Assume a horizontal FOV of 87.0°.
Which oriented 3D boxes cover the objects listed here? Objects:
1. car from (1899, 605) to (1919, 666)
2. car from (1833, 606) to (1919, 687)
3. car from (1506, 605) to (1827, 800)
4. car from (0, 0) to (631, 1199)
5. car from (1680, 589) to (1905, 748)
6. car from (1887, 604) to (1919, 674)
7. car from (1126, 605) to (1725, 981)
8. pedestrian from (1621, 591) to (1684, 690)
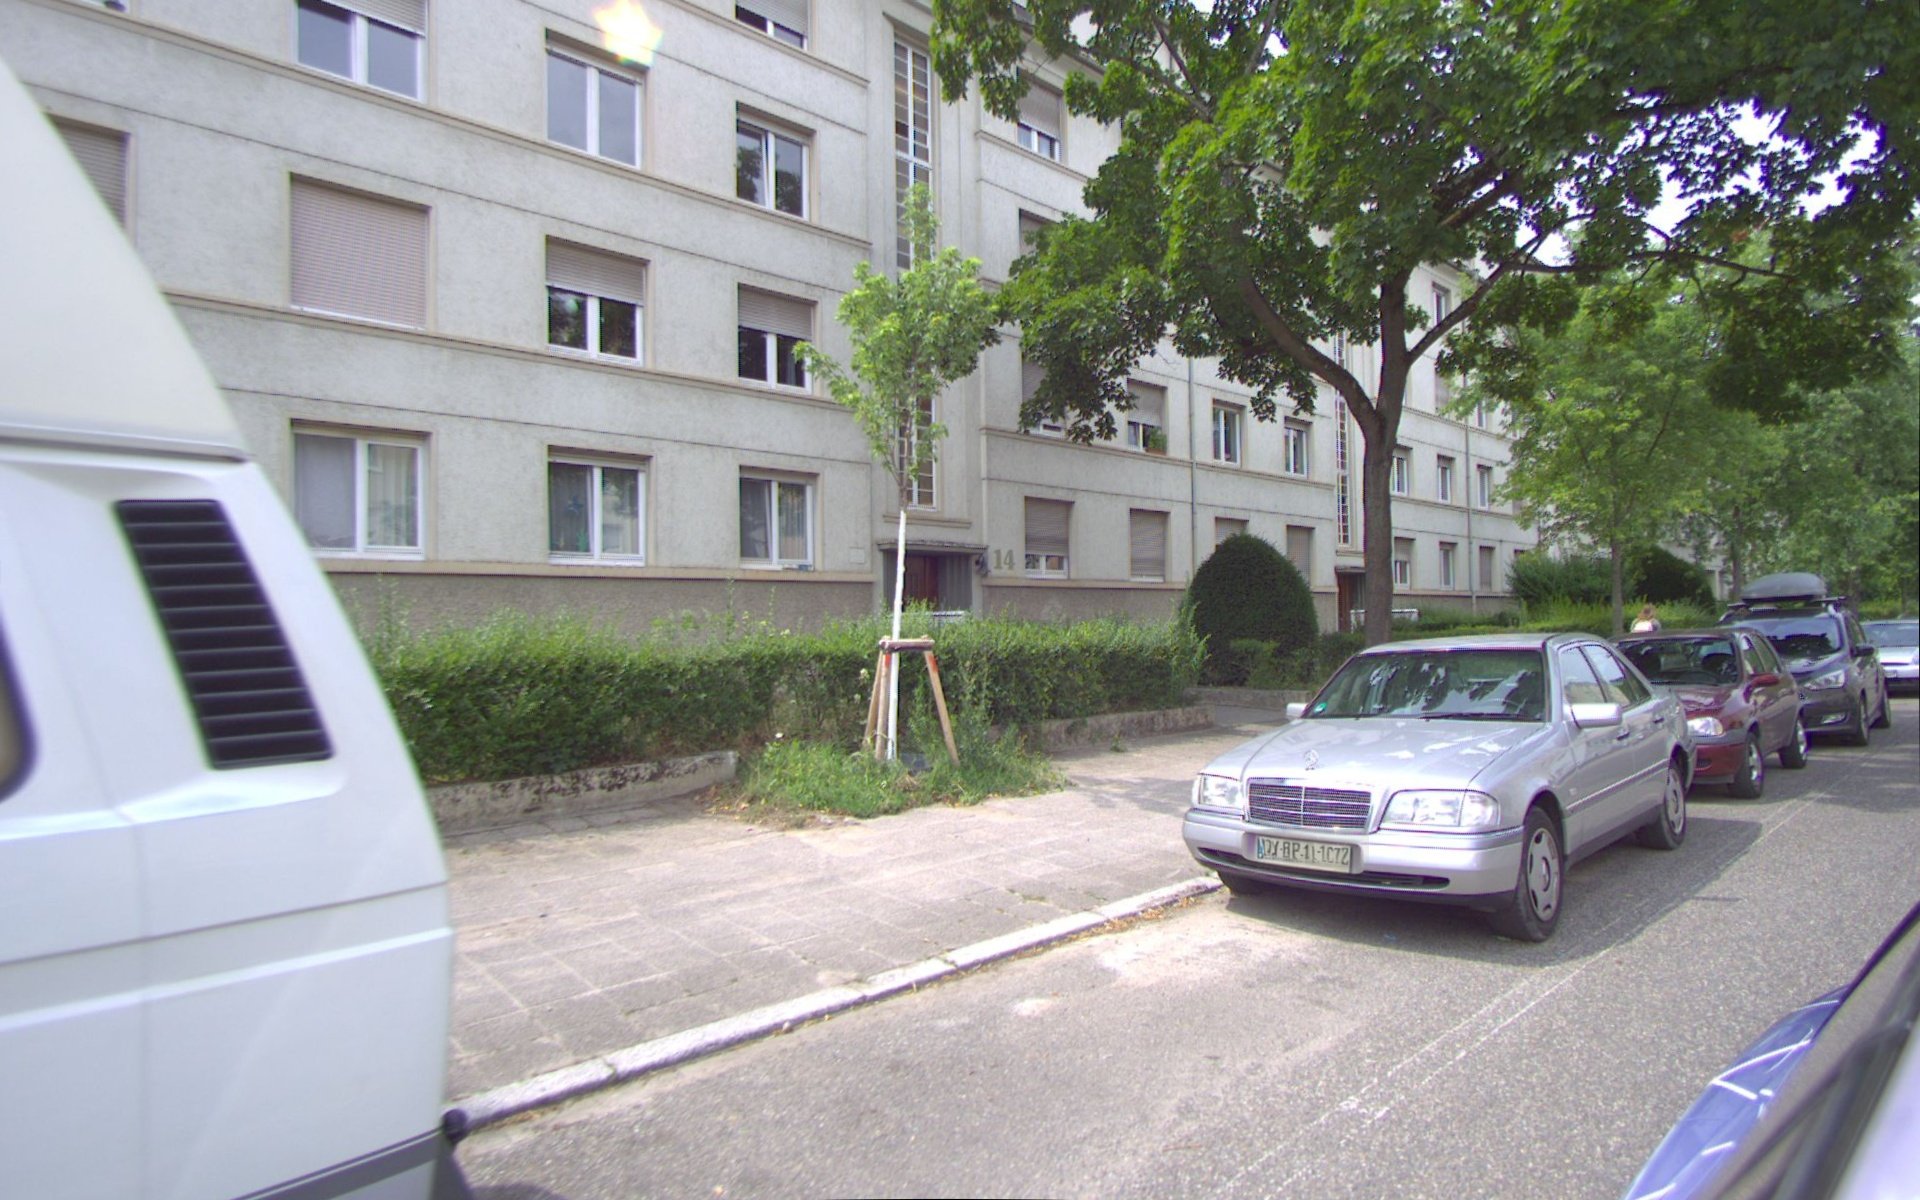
[{"bbox_3d":[25.860,0.868,26.401,3.721,1.512,1.673,0,-4,-43],"label":"car"},{"bbox_3d":[18.159,0.826,19.328,3.718,1.418,1.675,0,0,-40],"label":"car"},{"bbox_3d":[6.804,0.839,9.604,3.721,1.473,1.673,0,-4,-43],"label":"car"},{"bbox_3d":[-2.987,0.219,0.788,4.820,2.636,1.897,0,-4,-41],"label":"car"},{"bbox_3d":[10.677,0.733,12.873,4.199,1.697,1.673,0,0,-43],"label":"car"},{"bbox_3d":[21.962,0.836,22.386,3.718,1.472,1.675,0,0,-40],"label":"car"},{"bbox_3d":[3.120,0.813,6.204,4.565,1.469,1.673,0,-3,-43],"label":"car"},{"bbox_3d":[13.146,0.751,19.209,0.750,1.827,0.807,0,0,-41],"label":"pedestrian"}]
